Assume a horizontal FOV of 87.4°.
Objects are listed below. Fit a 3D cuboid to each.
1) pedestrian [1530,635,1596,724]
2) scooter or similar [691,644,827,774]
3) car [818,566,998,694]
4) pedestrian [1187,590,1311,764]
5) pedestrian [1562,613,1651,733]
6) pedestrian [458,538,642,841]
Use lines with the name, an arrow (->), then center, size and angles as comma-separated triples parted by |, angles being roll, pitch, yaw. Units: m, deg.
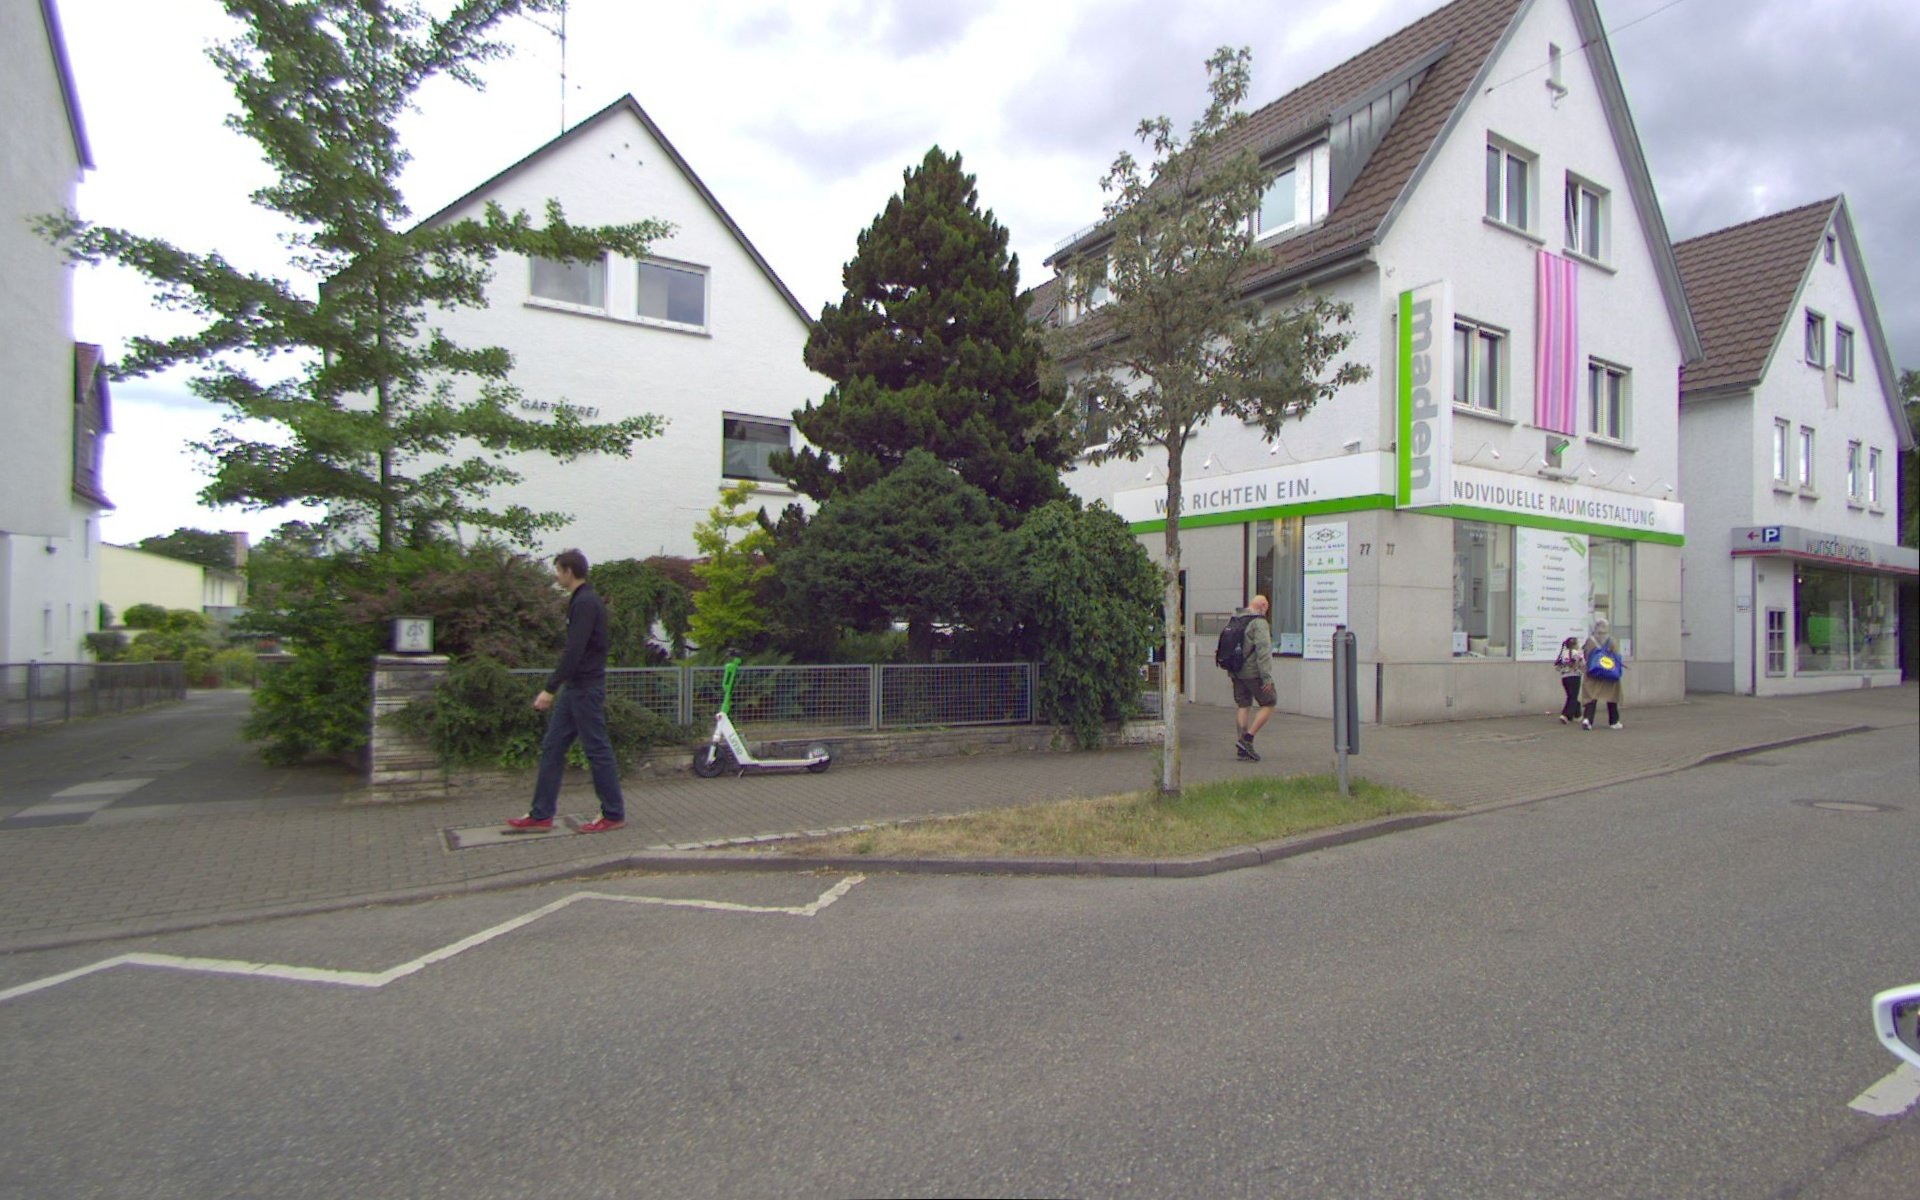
pedestrian -> 9.208, 1.191, 15.345 | 0.647, 1.297, 0.596 | 1, 0, -31
scooter or similar -> -1.838, 0.970, 9.227 | 1.166, 1.126, 0.338 | 1, 0, -31
car -> -1.313, 0.685, 22.346 | 1.975, 2.496, 5.279 | 1, -2, -28
pedestrian -> 3.105, 0.794, 10.816 | 1.008, 1.767, 0.747 | 1, 1, -31
pedestrian -> 9.388, 1.035, 14.591 | 0.784, 1.638, 0.747 | 1, 2, -31
pedestrian -> -2.773, 0.550, 6.776 | 1.008, 1.874, 0.747 | 1, 2, -31
